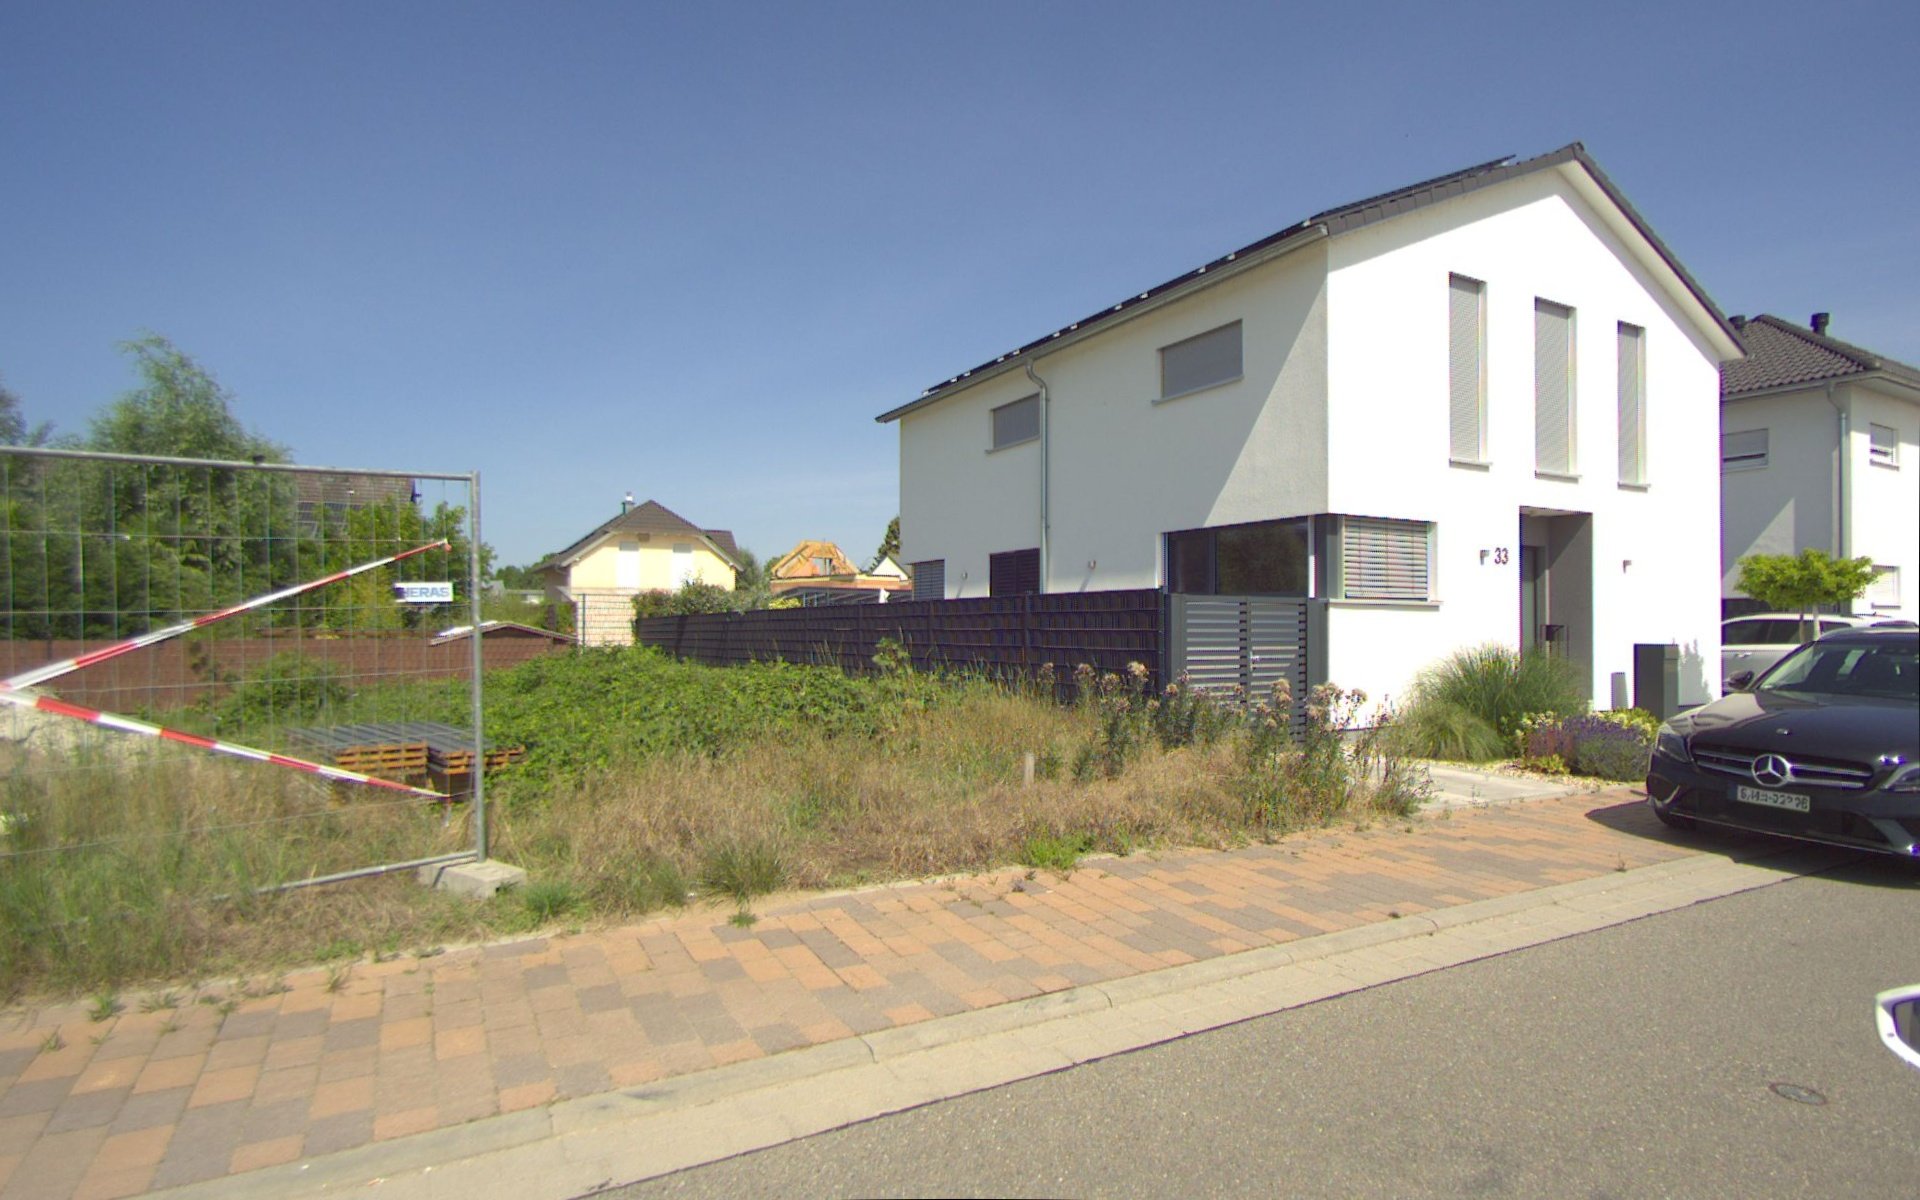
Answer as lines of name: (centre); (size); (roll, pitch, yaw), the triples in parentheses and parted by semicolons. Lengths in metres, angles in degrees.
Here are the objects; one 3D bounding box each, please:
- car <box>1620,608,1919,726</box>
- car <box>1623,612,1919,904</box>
car: (13.148, 0.969, 16.136); (1.769, 1.641, 3.944); (1, -1, -24)
car: (6.733, 0.890, 7.018); (4.392, 1.492, 1.682); (1, 1, -30)
